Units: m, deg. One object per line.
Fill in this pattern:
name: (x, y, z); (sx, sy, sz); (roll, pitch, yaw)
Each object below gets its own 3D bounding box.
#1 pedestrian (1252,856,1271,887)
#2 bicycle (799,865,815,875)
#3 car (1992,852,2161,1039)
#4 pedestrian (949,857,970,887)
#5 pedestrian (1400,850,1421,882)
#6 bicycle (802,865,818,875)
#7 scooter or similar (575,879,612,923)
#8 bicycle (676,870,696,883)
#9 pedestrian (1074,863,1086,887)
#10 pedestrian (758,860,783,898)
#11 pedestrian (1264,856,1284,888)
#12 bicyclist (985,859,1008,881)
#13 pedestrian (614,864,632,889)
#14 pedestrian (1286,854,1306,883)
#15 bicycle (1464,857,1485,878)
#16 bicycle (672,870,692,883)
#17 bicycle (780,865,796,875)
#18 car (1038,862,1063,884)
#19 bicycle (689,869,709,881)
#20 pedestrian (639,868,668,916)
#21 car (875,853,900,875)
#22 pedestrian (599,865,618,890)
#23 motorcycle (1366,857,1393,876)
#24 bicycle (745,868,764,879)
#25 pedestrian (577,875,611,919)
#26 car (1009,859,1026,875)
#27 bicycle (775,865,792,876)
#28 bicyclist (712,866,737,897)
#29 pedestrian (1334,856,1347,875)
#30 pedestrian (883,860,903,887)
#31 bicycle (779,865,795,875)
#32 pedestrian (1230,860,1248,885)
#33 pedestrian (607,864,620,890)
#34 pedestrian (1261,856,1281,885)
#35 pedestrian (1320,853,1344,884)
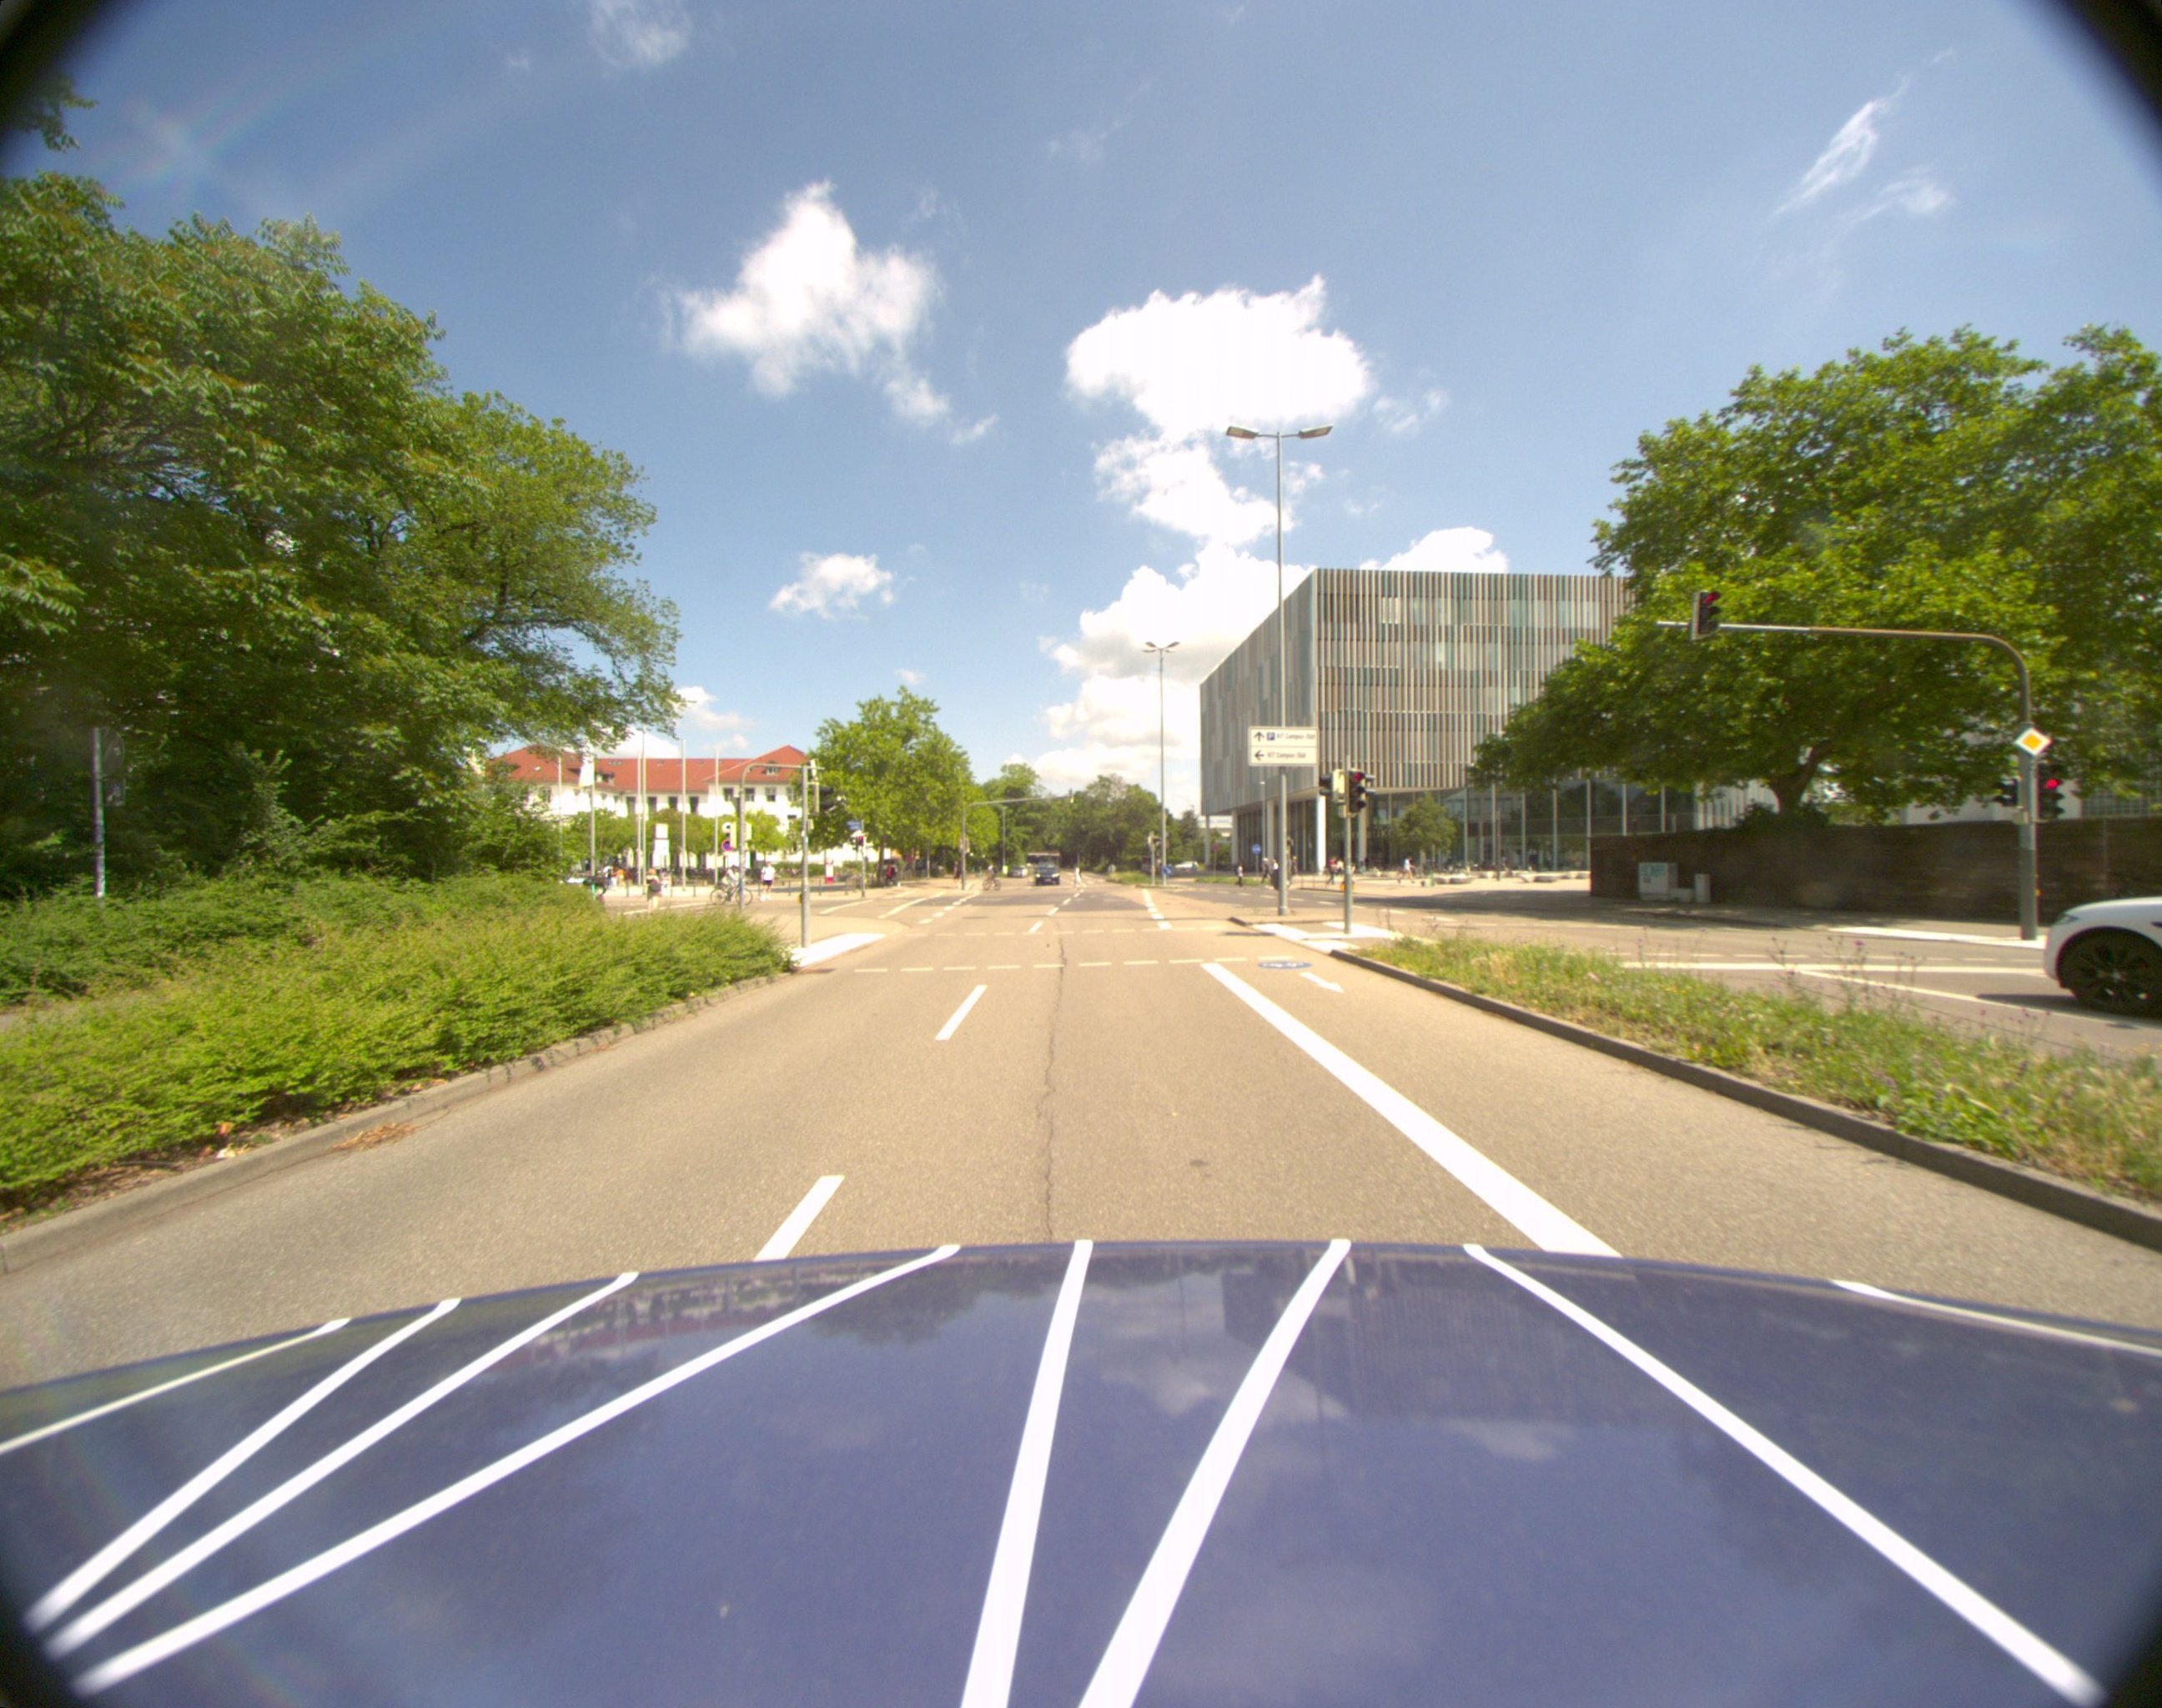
pedestrian: (11.216, 1.060, 47.127); (1.107, 1.914, 0.973); (-1, 0, 13)
bicycle: (-26.372, 1.551, 73.120); (1.429, 0.945, 0.352); (0, 0, -7)
car: (10.630, 0.799, 5.620); (2.076, 1.657, 4.775); (-1, 0, 0)
pedestrian: (-7.957, 1.161, 49.767); (1.030, 1.914, 0.973); (-1, 0, 20)
pedestrian: (20.363, 0.728, 46.986); (1.107, 1.914, 0.973); (-1, 0, 20)
bicycle: (-26.478, 1.543, 74.207); (1.429, 0.945, 0.352); (0, 0, -7)
scooter or similar: (-14.042, 1.348, 21.857); (1.227, 1.226, 0.438); (0, -2, 35)
bicycle: (-30.638, 1.736, 58.919); (1.370, 0.945, 0.352); (-1, 0, 2)
pedestrian: (-0.057, 1.297, 46.730); (0.591, 1.495, 0.416); (-1, 1, -20)
pedestrian: (-15.469, 1.227, 37.829); (0.879, 1.861, 0.971); (-1, 0, -5)
pedestrian: (11.611, 1.087, 45.746); (1.107, 1.914, 0.973); (-1, 0, 11)
bicyclist: (-5.498, 1.042, 49.397); (0.974, 1.436, 1.074); (-1, 0, -41)
pedestrian: (-30.954, 1.520, 51.369); (0.833, 1.613, 0.686); (0, 1, 23)
pedestrian: (14.697, 0.976, 51.981); (0.880, 1.914, 0.970); (-1, 1, -30)
bicycle: (31.062, 1.048, 59.906); (0.997, 1.543, 3.422); (0, 0, 35)
bicycle: (-30.652, 1.709, 58.357); (1.370, 0.945, 0.352); (-1, 0, 2)
bicycle: (-28.443, 1.563, 73.722); (1.429, 0.945, 0.352); (0, 0, -7)
car: (-2.342, 1.426, 57.966); (1.846, 1.593, 3.999); (-1, 0, -3)
bicycle: (-31.353, 1.696, 62.401); (1.372, 0.945, 0.352); (0, 0, -10)
pedestrian: (-14.864, 1.310, 26.440); (0.633, 1.617, 0.647); (0, 1, 34)
car: (-18.685, 0.991, 73.575); (2.000, 2.042, 4.225); (0, 0, -9)
pedestrian: (-31.292, 1.532, 50.296); (0.833, 1.613, 0.686); (0, 1, 25)
motorcycle: (25.781, 1.071, 65.522); (0.969, 1.630, 3.305); (0, 0, 43)
bicycle: (-27.644, 1.634, 64.298); (1.412, 0.945, 0.352); (0, 0, -7)
pedestrian: (-16.053, 1.409, 25.036); (0.786, 1.408, 0.657); (0, -2, 34)
car: (-7.404, 1.527, 88.959); (1.913, 1.772, 3.998); (0, 0, -5)
bicycle: (-28.421, 1.572, 72.643); (1.429, 0.945, 0.352); (0, 0, -7)
bicyclist: (-14.632, 1.115, 31.207); (0.834, 1.219, 0.617); (-1, 0, -18)
pedestrian: (22.822, 0.991, 66.813); (1.012, 1.697, 1.212); (-1, 0, 17)
pedestrian: (-11.610, 1.199, 46.930); (1.064, 1.588, 0.970); (-1, 0, -21)
bicycle: (-28.378, 1.566, 73.313); (1.429, 0.945, 0.352); (0, 0, -7)
pedestrian: (10.648, 1.224, 51.147); (0.879, 1.619, 0.971); (-1, 0, -12)
pedestrian: (-29.715, 1.455, 48.325); (0.434, 1.580, 0.540); (0, 0, 35)
pedestrian: (12.761, 1.073, 51.030); (0.880, 1.914, 0.970); (-1, 0, -19)
pedestrian: (15.938, 0.929, 48.240); (1.109, 1.914, 0.971); (-1, 0, -8)
